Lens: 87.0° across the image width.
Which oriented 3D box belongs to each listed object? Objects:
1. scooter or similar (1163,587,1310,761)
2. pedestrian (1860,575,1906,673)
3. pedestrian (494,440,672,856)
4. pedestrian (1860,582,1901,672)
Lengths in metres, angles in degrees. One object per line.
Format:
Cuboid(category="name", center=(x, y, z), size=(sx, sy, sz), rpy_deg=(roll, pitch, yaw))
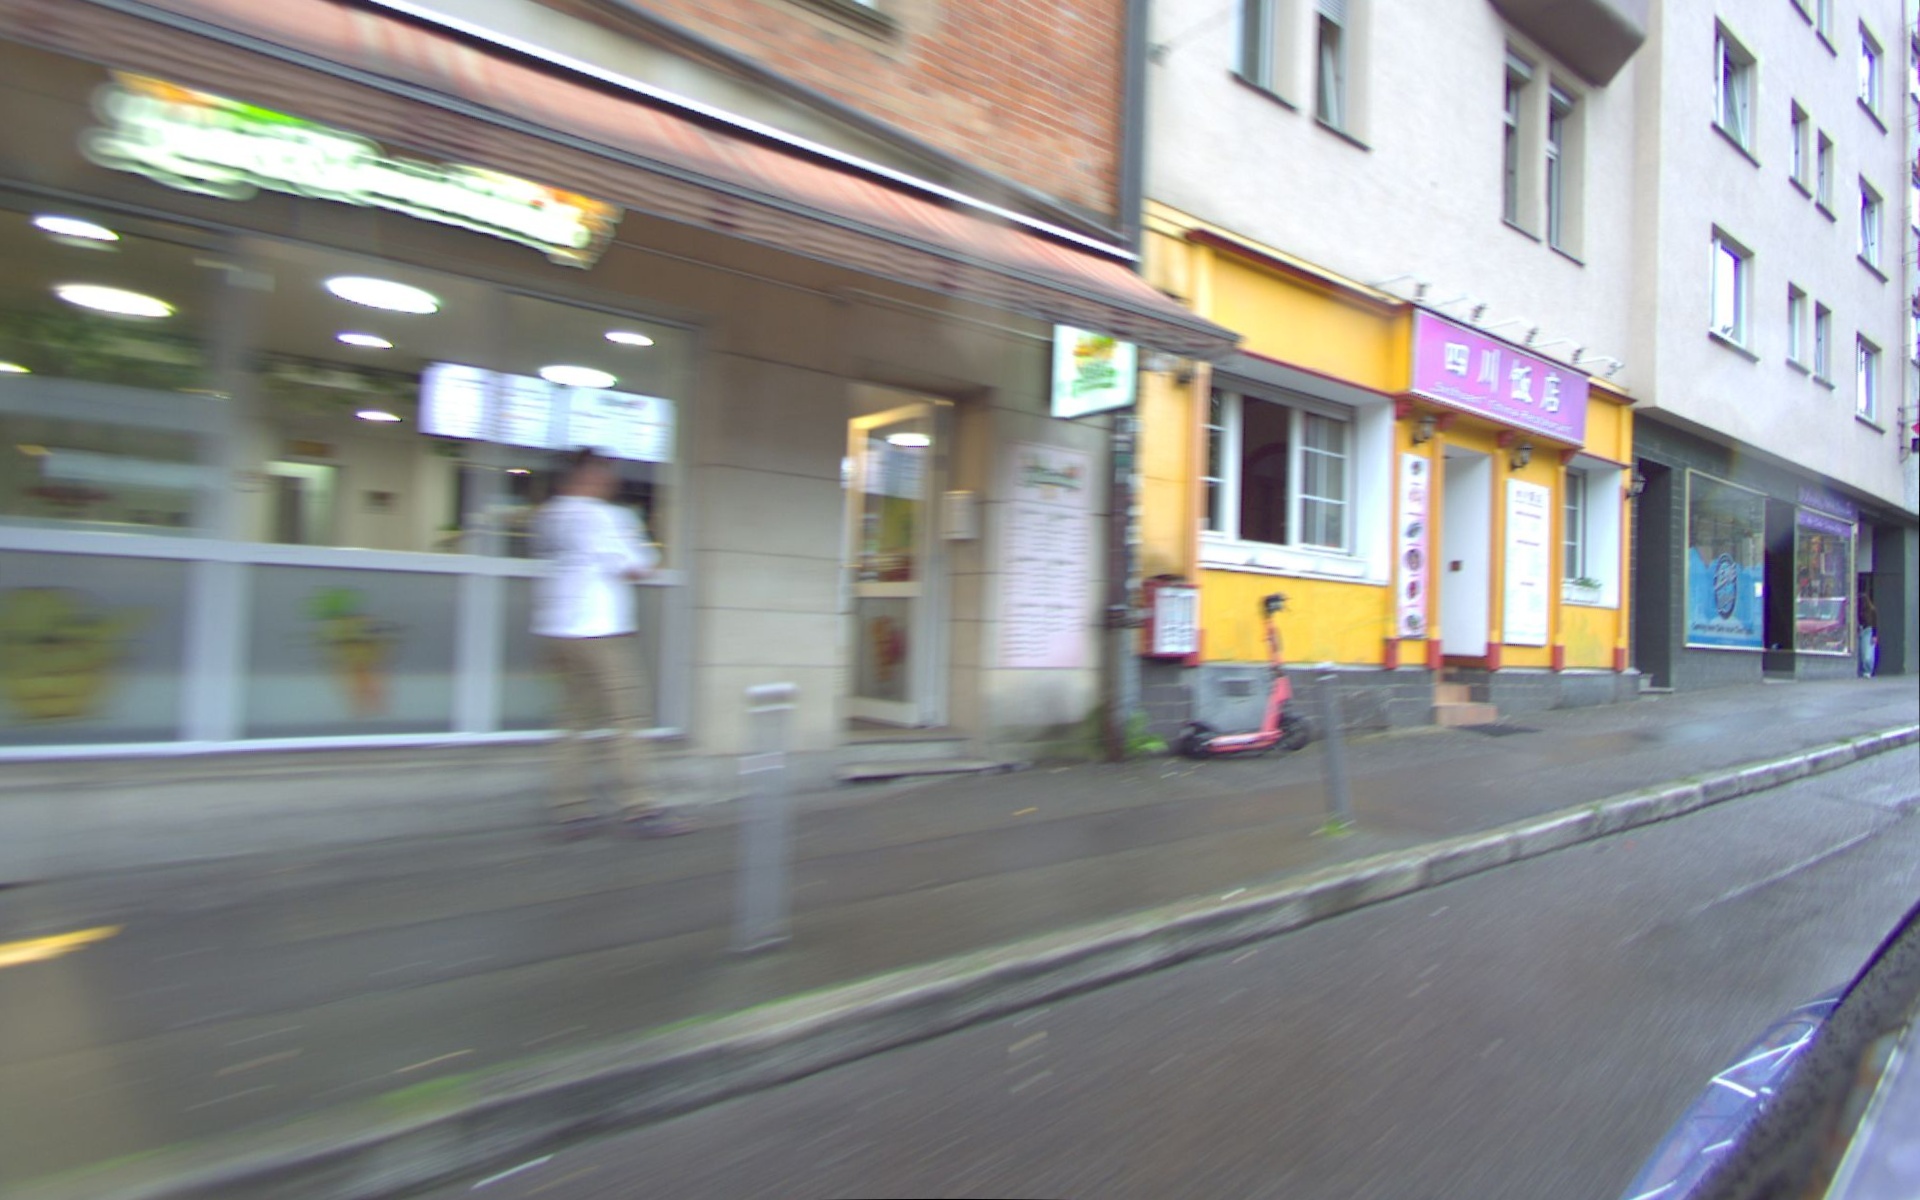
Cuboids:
Cuboid(category="scooter or similar", center=(2.085, 0.533, 7.595), size=(1.170, 1.237, 0.259), rpy_deg=(1, 0, -26))
Cuboid(category="pedestrian", center=(16.774, 0.427, 18.395), size=(0.506, 1.742, 0.463), rpy_deg=(0, 0, -27))
Cuboid(category="pedestrian", center=(-1.788, 0.198, 4.841), size=(0.570, 1.852, 0.562), rpy_deg=(3, 3, 11))
Cuboid(category="pedestrian", center=(17.420, 0.503, 19.152), size=(0.477, 1.666, 0.329), rpy_deg=(0, -1, 23))
